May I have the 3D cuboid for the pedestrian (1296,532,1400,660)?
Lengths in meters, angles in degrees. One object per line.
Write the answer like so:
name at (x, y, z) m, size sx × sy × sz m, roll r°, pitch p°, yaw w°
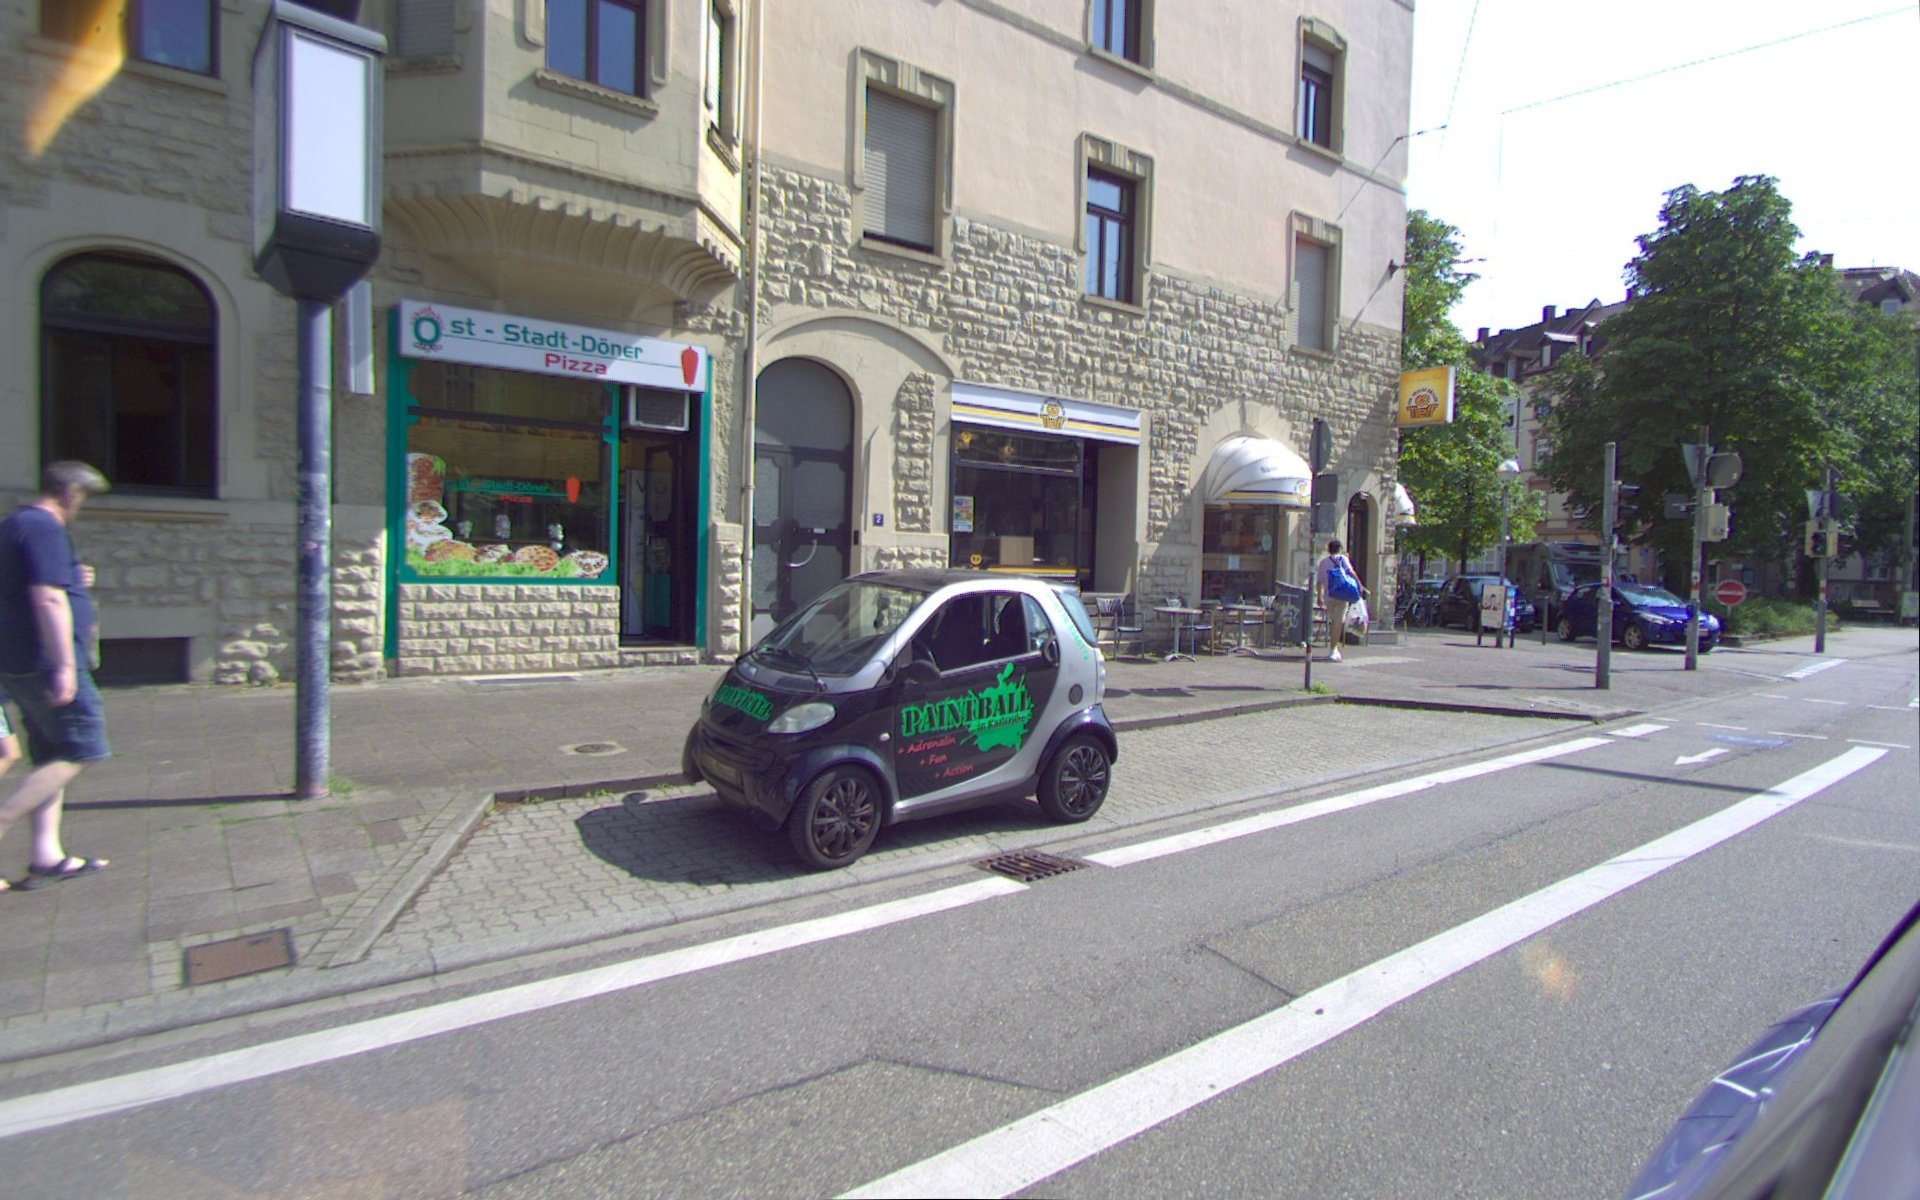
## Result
pedestrian at (5.832, -0.078, 15.251) m, size 0.833 × 1.789 × 1.015 m, roll 1°, pitch 5°, yaw -34°

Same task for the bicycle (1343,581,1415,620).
bicycle at (12.889, 0.005, 31.189) m, size 1.935 × 1.130 × 0.588 m, roll 2°, pitch 0°, yaw -1°

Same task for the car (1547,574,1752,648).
car at (15.604, 0.185, 23.206) m, size 1.856 × 1.436 × 4.002 m, roll 2°, pitch 2°, yaw 0°

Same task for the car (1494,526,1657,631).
car at (18.826, -0.680, 31.421) m, size 2.358 × 2.828 × 6.644 m, roll 3°, pitch 2°, yaw 15°

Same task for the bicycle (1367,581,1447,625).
bicycle at (12.507, 0.078, 28.361) m, size 1.935 × 1.155 × 0.588 m, roll 2°, pitch 0°, yaw -1°

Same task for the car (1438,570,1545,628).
car at (15.416, -0.076, 29.594) m, size 1.702 × 1.574 × 4.099 m, roll -1°, pitch 1°, yaw 12°

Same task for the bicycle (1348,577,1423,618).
bicycle at (12.512, -0.080, 29.782) m, size 1.935 × 1.130 × 0.588 m, roll 2°, pitch 0°, yaw -1°

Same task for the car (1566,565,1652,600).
car at (39.568, -1.104, 61.815) m, size 1.799 × 2.010 × 4.327 m, roll 0°, pitch 2°, yaw -13°

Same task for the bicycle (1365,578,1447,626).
bicycle at (12.157, 0.056, 27.623) m, size 1.935 × 1.224 × 0.588 m, roll 2°, pitch 0°, yaw -1°

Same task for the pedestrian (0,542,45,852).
pedestrian at (-4.496, 0.428, 4.637) m, size 0.435 × 1.341 × 0.571 m, roll -1°, pitch 7°, yaw -43°

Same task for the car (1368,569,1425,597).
car at (34.925, -1.401, 81.038) m, size 1.958 × 2.038 × 4.327 m, roll 1°, pitch 2°, yaw -13°

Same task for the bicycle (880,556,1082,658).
bicycle at (0.316, 0.059, 12.940) m, size 2.702 × 1.192 × 0.807 m, roll -1°, pitch 1°, yaw -39°

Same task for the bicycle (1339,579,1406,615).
bicycle at (13.628, -0.099, 33.472) m, size 1.935 × 1.130 × 0.588 m, roll 2°, pitch 0°, yaw -1°

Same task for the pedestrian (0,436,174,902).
pedestrian at (-3.936, 0.249, 4.320) m, size 0.859 × 1.863 × 0.660 m, roll -1°, pitch 6°, yaw -43°

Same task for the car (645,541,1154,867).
car at (-0.328, 0.466, 6.311) m, size 2.743 × 1.516 × 1.519 m, roll 0°, pitch 5°, yaw -38°
